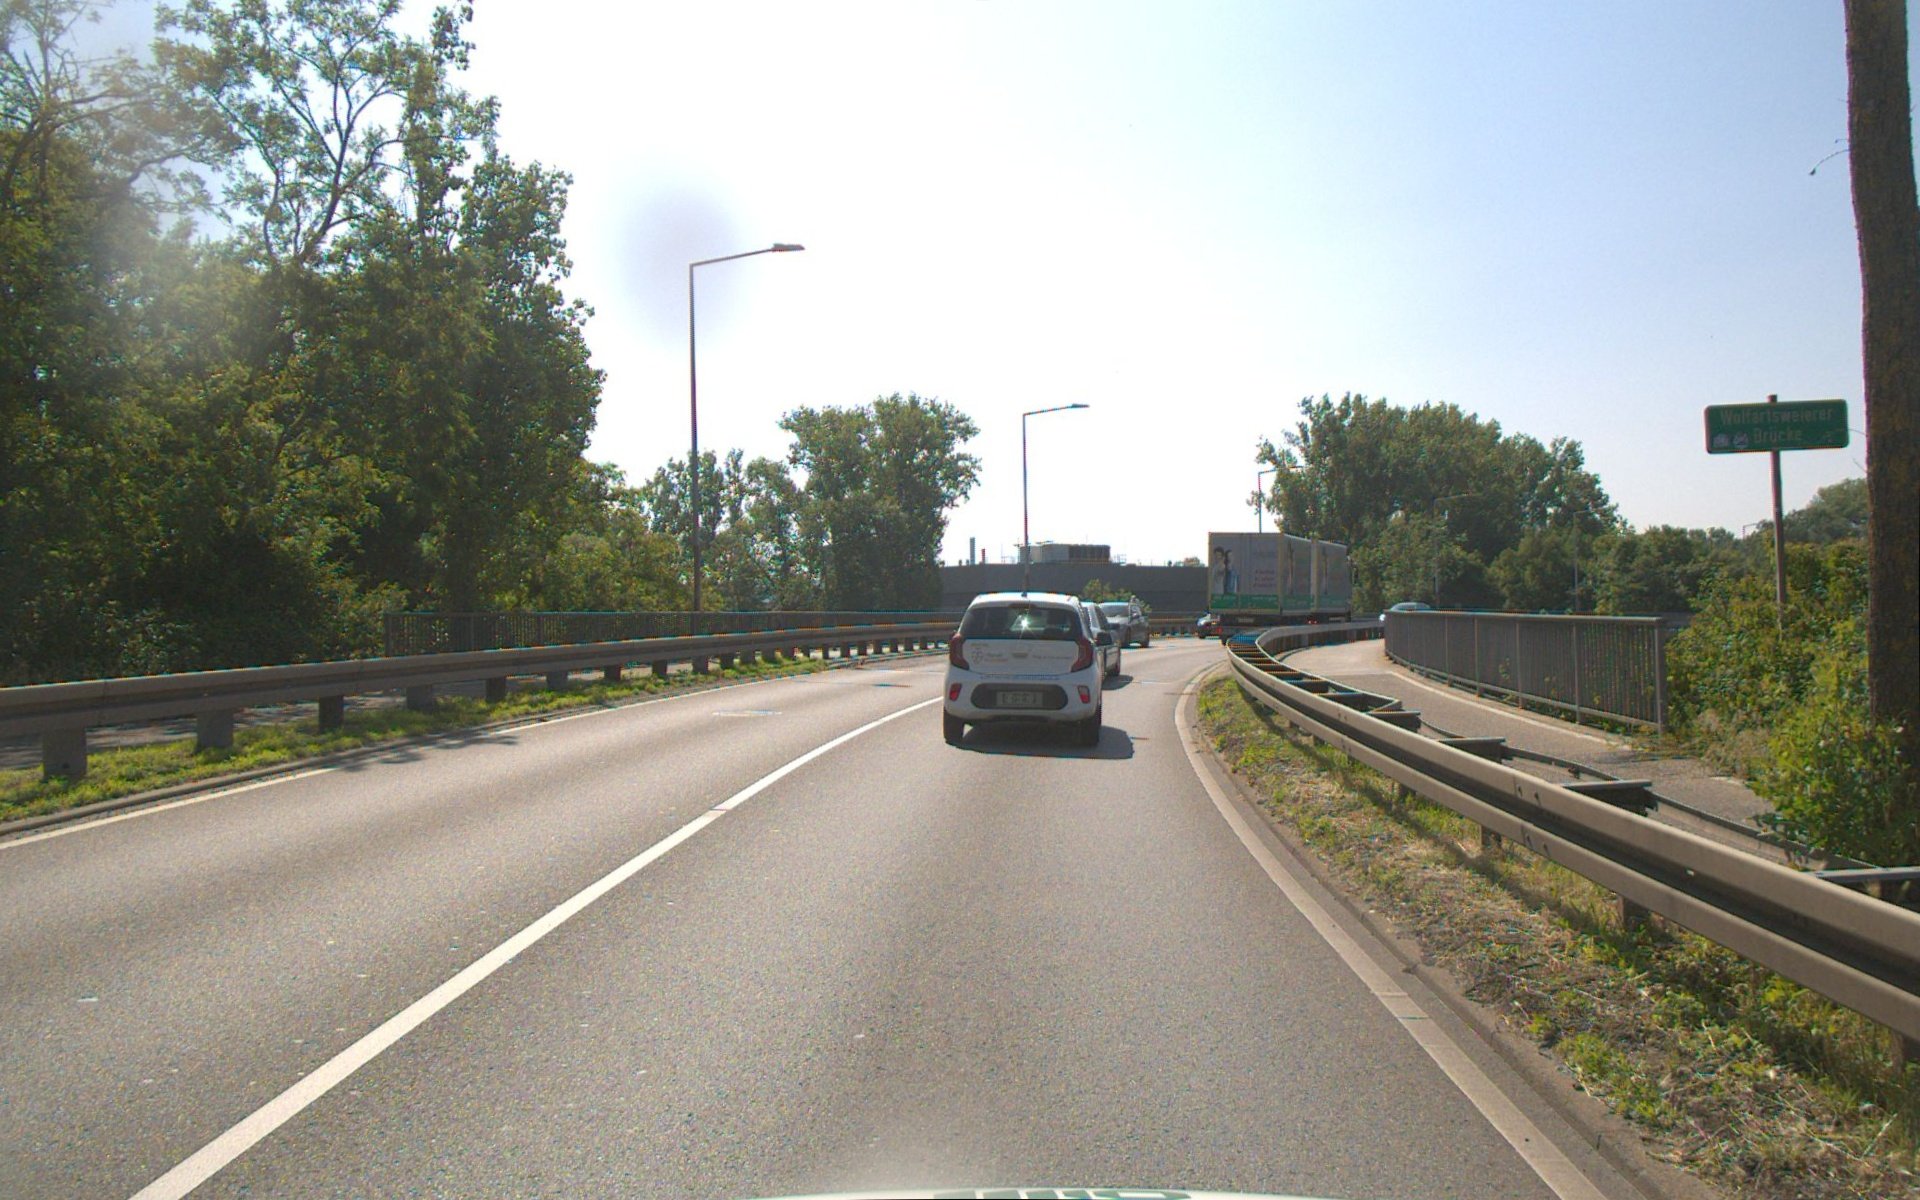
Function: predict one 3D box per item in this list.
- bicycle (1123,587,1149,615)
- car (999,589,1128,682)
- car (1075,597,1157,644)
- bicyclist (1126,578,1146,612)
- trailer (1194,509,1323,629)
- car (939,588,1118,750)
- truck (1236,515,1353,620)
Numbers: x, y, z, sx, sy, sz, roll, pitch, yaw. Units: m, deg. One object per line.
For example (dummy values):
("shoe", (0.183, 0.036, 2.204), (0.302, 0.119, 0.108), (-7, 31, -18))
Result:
("bicycle", (7.612, 0.038, 71.545), (0.599, 1.155, 2.149), (-3, -2, 19))
("car", (1.957, 0.577, 29.875), (1.897, 1.512, 4.904), (1, 0, 8))
("car", (5.073, 0.635, 53.211), (1.681, 1.422, 4.184), (0, 0, 19))
("bicyclist", (7.602, -0.209, 71.549), (0.595, 1.464, 1.078), (-2, -2, 19))
("trailer", (10.525, -1.125, 57.686), (3.157, 3.823, 7.828), (2, 2, 19))
("car", (0.853, 0.651, 18.083), (1.665, 1.520, 4.003), (1, 1, 6))
("truck", (13.294, -1.307, 65.124), (3.193, 3.823, 8.373), (2, 2, 20))
